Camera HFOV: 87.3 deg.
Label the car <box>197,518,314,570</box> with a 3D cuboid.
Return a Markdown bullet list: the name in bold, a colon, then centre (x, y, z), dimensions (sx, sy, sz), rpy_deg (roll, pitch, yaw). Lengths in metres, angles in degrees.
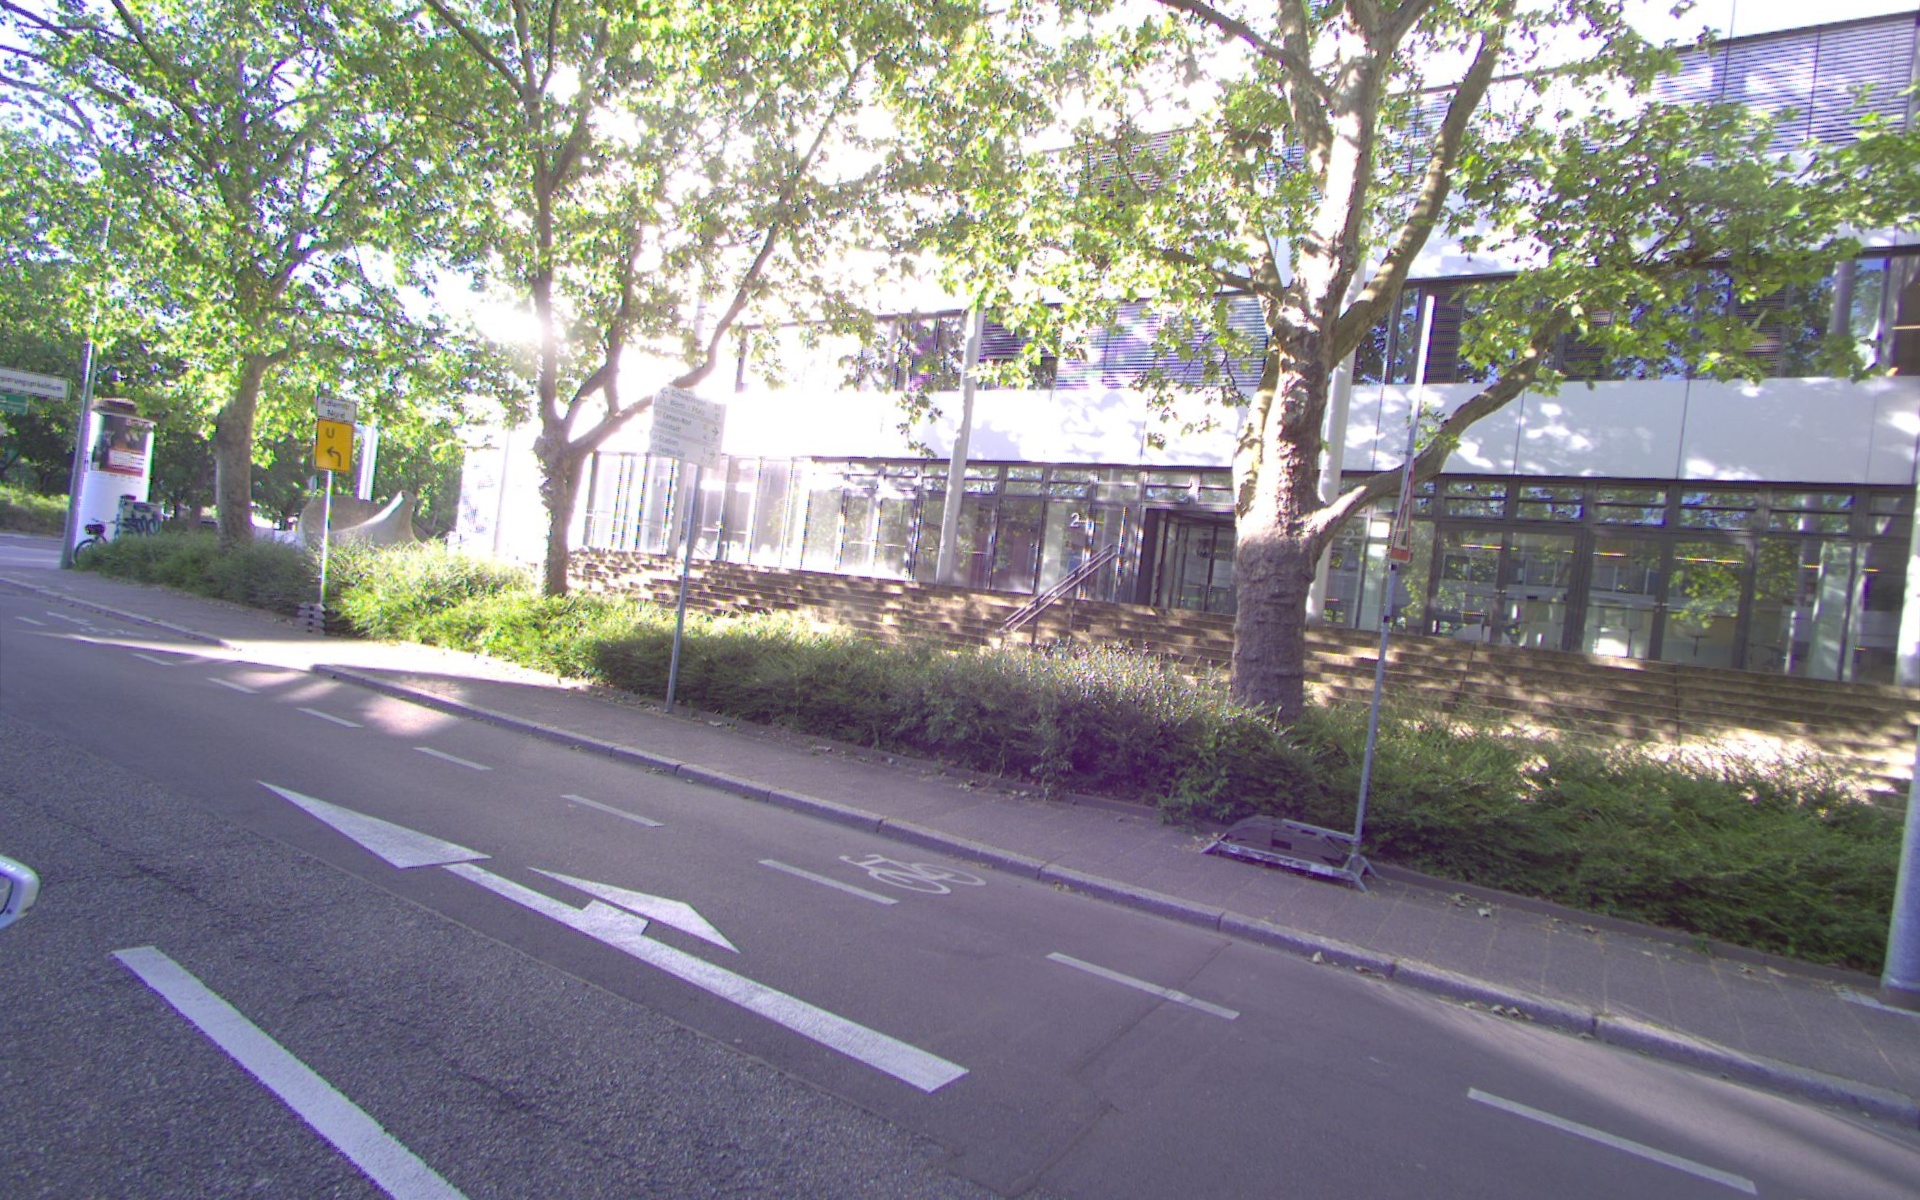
- **car**: centre (-32.706, -2.567, 46.826), dimensions (1.708, 1.792, 3.995), rpy_deg (7, -1, 30)

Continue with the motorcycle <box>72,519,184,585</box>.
- **motorcycle**: centre (-19.232, -1.094, 23.285), dimensions (0.712, 1.257, 1.782), rpy_deg (6, -2, 37)

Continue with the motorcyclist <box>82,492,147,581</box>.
- **motorcyclist**: centre (-19.359, -1.449, 23.037), dimensions (0.662, 1.885, 0.823), rpy_deg (6, -1, 37)
